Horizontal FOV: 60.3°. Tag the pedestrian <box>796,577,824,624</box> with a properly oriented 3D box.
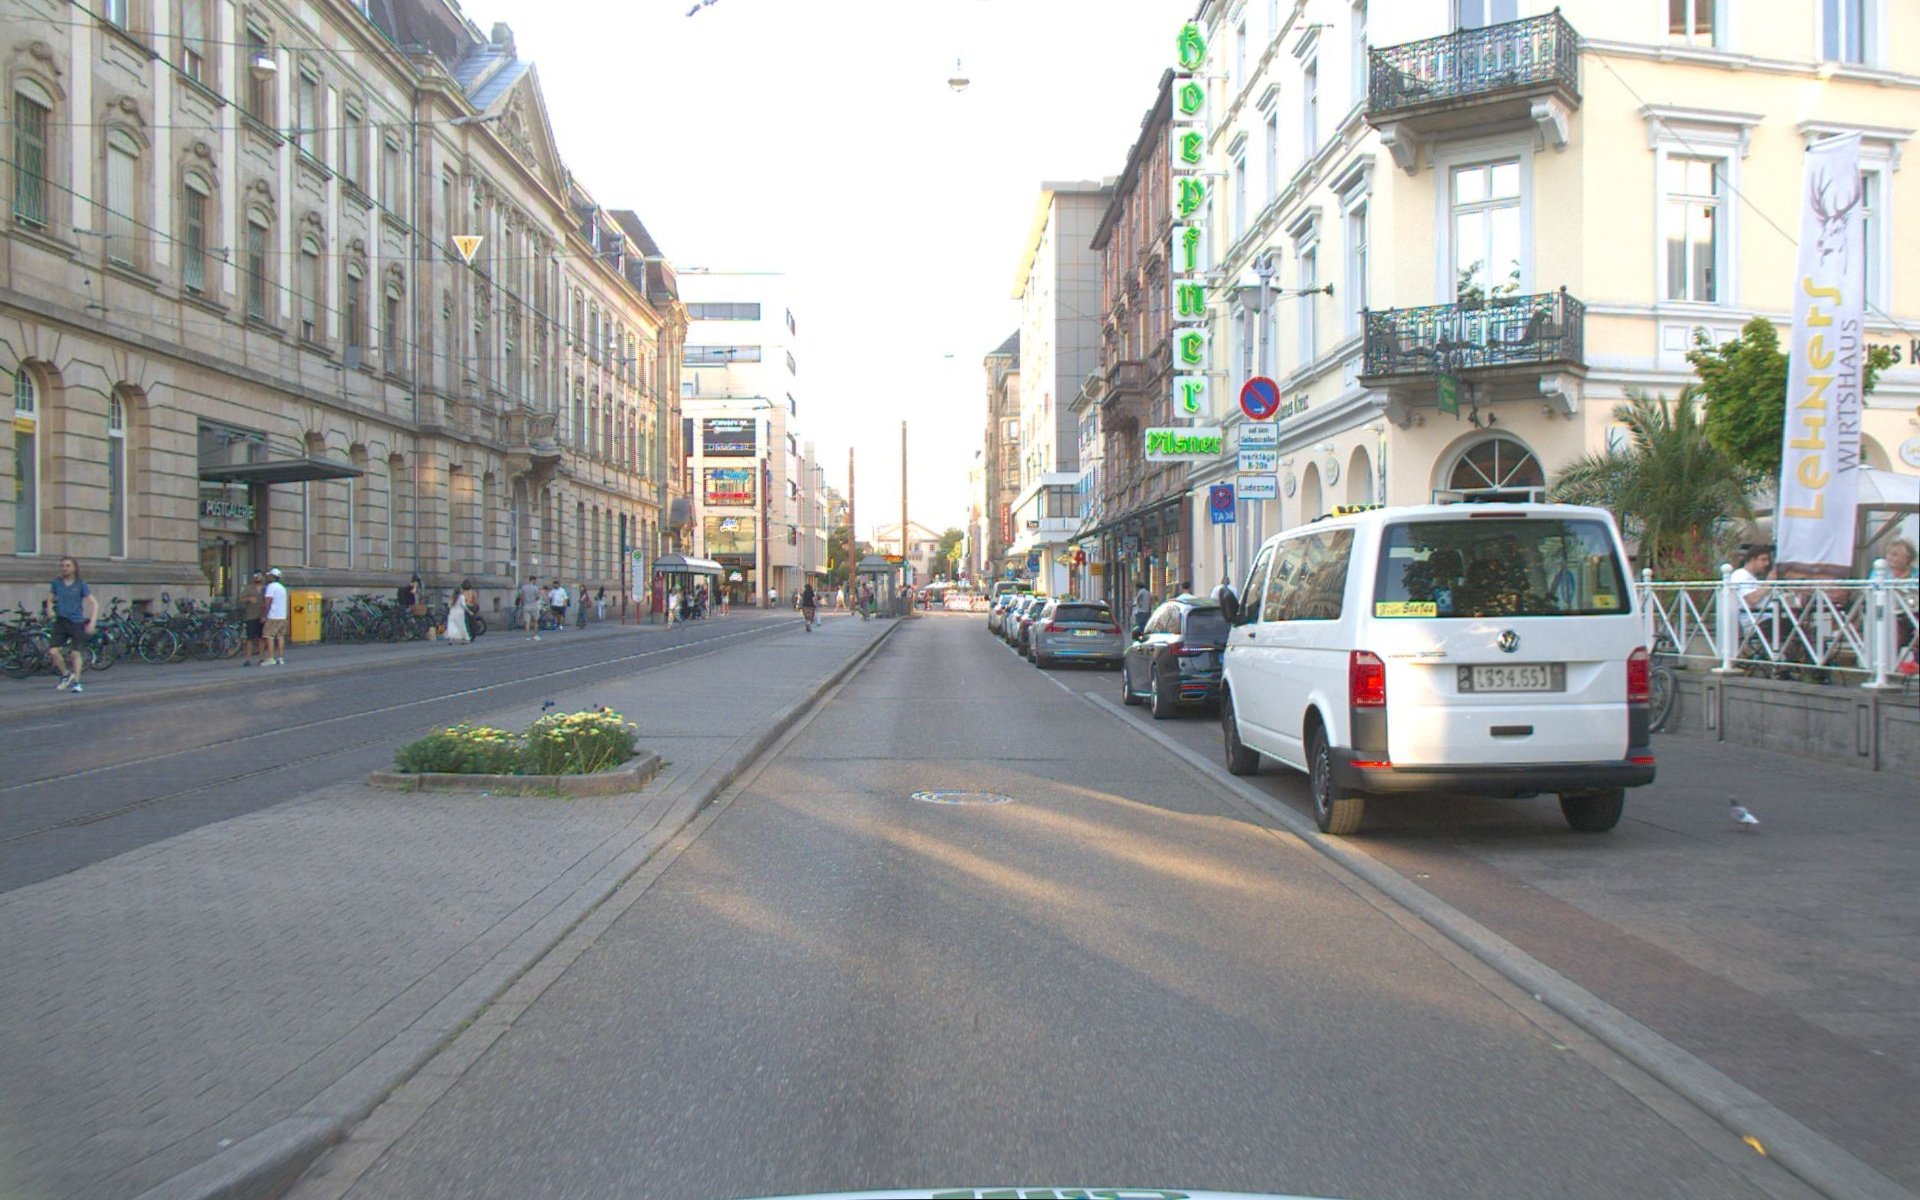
[{"bbox_3d":[-4.940,0.014,54.503,0.829,1.527,0.901,0,0,-2],"label":"pedestrian"}]

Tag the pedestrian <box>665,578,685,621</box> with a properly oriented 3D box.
[{"bbox_3d":[-10.708,-0.016,62.150,0.646,1.589,0.679,0,0,-2],"label":"pedestrian"}]

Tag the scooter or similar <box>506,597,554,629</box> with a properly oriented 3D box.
[{"bbox_3d":[-15.012,0.460,57.740,1.514,1.087,0.451,1,-1,3],"label":"scooter or similar"}]

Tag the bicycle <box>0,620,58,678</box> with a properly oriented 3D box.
[{"bbox_3d":[-15.082,0.760,26.031,1.542,0.889,0.451,1,-1,3],"label":"bicycle"}]

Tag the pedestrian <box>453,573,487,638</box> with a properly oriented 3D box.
[{"bbox_3d":[-13.274,0.151,44.840,0.678,1.742,0.815,0,0,-2],"label":"pedestrian"}]

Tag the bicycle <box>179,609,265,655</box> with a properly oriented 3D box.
[{"bbox_3d":[-15.069,0.652,33.769,1.542,0.889,0.451,1,-1,3],"label":"bicycle"}]

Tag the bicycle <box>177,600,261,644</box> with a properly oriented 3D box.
[{"bbox_3d":[-15.527,0.469,34.671,1.542,0.889,0.451,1,-1,3],"label":"bicycle"}]

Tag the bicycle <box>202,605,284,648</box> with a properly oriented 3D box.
[{"bbox_3d":[-15.338,0.569,35.393,1.542,0.889,0.451,1,-1,3],"label":"bicycle"}]

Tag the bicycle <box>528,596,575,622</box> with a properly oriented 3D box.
[{"bbox_3d":[-14.750,0.317,59.738,1.542,0.889,0.451,1,-1,3],"label":"bicycle"}]

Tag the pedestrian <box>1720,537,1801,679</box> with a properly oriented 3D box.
[{"bbox_3d":[7.550,0.071,15.609,0.519,1.319,0.491,0,0,-1],"label":"pedestrian"}]

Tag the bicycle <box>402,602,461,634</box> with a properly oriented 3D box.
[{"bbox_3d":[-15.154,0.510,47.461,1.542,0.889,0.451,1,-1,3],"label":"bicycle"}]

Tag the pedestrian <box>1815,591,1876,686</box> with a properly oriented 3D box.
[{"bbox_3d":[12.263,0.527,22.914,0.584,1.303,0.489,0,0,-14],"label":"pedestrian"}]

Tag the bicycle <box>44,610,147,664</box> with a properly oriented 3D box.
[{"bbox_3d":[-14.850,0.626,28.427,1.542,0.889,0.451,1,-1,3],"label":"bicycle"}]

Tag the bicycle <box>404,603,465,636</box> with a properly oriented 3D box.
[{"bbox_3d":[-14.845,0.553,46.729,1.542,0.889,0.451,1,-1,3],"label":"bicycle"}]

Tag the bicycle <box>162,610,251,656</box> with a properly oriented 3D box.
[{"bbox_3d":[-14.927,0.650,32.777,1.542,0.889,0.451,1,-1,3],"label":"bicycle"}]

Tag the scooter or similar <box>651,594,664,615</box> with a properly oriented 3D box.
[{"bbox_3d":[-17.123,0.244,93.569,0.477,1.202,1.293,1,0,1],"label":"scooter or similar"}]

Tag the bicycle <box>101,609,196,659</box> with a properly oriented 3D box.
[{"bbox_3d":[-15.032,0.633,30.639,1.542,0.889,0.451,1,-1,3],"label":"bicycle"}]

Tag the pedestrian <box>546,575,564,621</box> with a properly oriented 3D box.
[{"bbox_3d":[-14.766,-0.084,60.309,0.466,1.671,0.563,1,-1,4],"label":"pedestrian"}]

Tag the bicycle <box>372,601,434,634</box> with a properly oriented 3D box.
[{"bbox_3d":[-15.263,0.472,45.322,1.542,0.889,0.451,1,-1,3],"label":"bicycle"}]

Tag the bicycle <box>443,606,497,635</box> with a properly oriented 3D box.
[{"bbox_3d":[-15.437,0.638,52.102,1.542,0.889,0.451,1,-1,3],"label":"bicycle"}]

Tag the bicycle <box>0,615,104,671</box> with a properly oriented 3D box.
[{"bbox_3d":[-15.110,0.709,27.490,1.542,0.889,0.451,1,-1,3],"label":"bicycle"}]

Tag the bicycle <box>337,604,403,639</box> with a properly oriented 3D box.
[{"bbox_3d":[-15.322,0.554,42.992,1.542,0.889,0.451,1,-1,3],"label":"bicycle"}]

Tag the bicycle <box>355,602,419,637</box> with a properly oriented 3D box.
[{"bbox_3d":[-15.311,0.522,44.224,1.542,0.889,0.451,1,-1,3],"label":"bicycle"}]

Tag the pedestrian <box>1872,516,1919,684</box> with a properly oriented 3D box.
[{"bbox_3d":[7.727,-0.001,13.284,0.522,1.319,0.488,0,0,-16],"label":"pedestrian"}]

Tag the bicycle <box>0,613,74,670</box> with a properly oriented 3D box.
[{"bbox_3d":[-15.120,0.658,26.570,1.542,0.889,0.451,1,-1,3],"label":"bicycle"}]

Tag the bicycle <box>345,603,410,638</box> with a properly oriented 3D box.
[{"bbox_3d":[-15.364,0.547,43.638,1.542,0.889,0.451,1,-1,3],"label":"bicycle"}]

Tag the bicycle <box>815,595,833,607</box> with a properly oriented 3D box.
[{"bbox_3d":[-12.974,0.087,157.348,1.661,1.141,0.451,1,-1,1],"label":"bicycle"}]

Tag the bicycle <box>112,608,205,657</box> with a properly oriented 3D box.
[{"bbox_3d":[-15.219,0.617,31.416,1.542,0.889,0.451,1,-1,3],"label":"bicycle"}]

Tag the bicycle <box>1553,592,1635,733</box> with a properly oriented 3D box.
[{"bbox_3d":[6.630,0.627,17.339,0.336,1.415,1.290,0,0,-2],"label":"bicycle"}]

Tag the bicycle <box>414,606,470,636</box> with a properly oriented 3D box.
[{"bbox_3d":[-15.739,0.634,50.222,1.542,0.889,0.451,1,-1,3],"label":"bicycle"}]

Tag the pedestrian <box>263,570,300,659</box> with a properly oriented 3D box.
[{"bbox_3d":[-12.657,0.270,30.864,0.369,1.659,0.491,0,-1,39],"label":"pedestrian"}]

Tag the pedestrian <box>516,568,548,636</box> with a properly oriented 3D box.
[{"bbox_3d":[-11.713,0.049,45.289,0.678,1.844,0.814,0,0,-2],"label":"pedestrian"}]

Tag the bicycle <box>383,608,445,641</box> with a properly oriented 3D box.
[{"bbox_3d":[-15.171,0.676,45.958,1.542,0.889,0.451,1,-1,3],"label":"bicycle"}]

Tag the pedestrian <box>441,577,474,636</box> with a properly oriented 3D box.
[{"bbox_3d":[-12.782,0.164,42.104,0.678,1.492,0.556,0,0,-2],"label":"pedestrian"}]

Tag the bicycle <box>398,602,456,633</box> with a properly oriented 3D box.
[{"bbox_3d":[-15.668,0.515,48.601,1.542,0.889,0.451,1,-1,3],"label":"bicycle"}]
